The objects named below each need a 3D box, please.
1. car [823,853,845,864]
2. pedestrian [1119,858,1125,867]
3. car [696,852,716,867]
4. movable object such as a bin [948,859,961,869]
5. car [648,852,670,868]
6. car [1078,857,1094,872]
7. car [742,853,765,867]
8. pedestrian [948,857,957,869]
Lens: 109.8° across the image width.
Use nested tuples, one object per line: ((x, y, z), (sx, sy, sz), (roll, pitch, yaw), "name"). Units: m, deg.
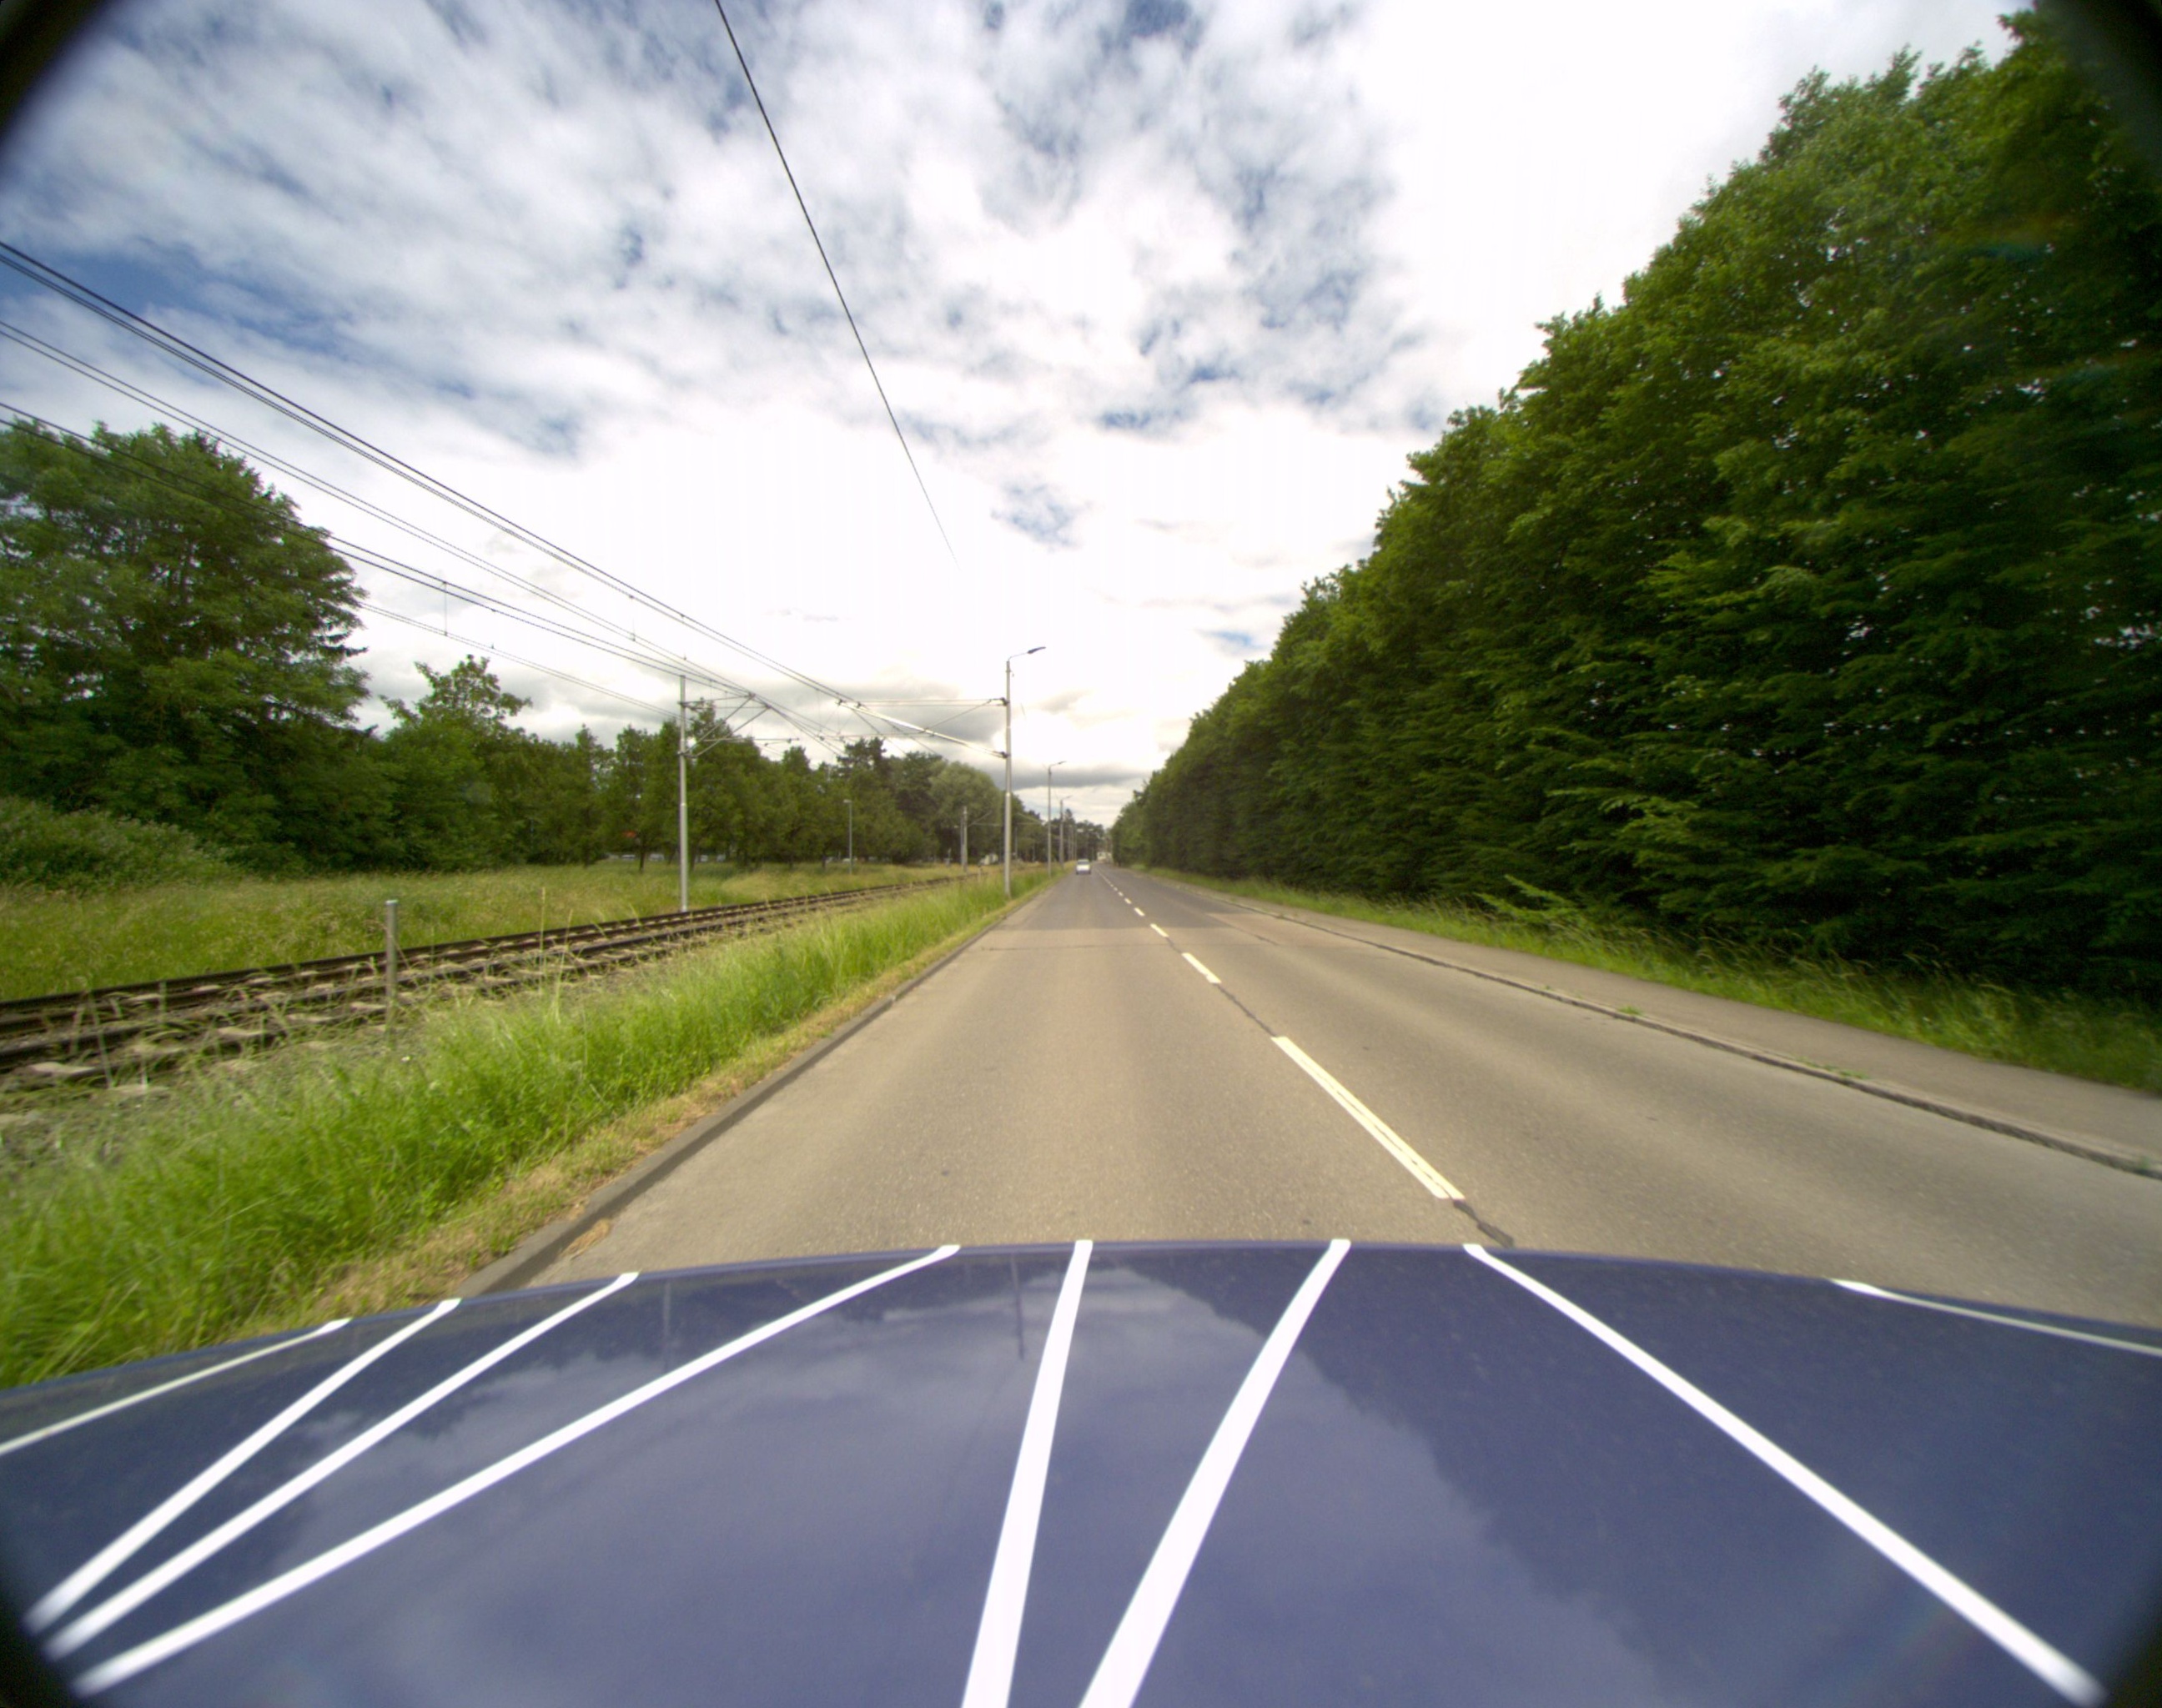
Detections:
((-39.866, 0.673, 122.630), (1.998, 1.690, 4.001), (-1, 0, 3), "car")
((7.590, 1.553, 141.283), (0.870, 1.759, 0.789), (1, 0, -7), "pedestrian")
((-46.080, 0.716, 93.443), (2.002, 1.801, 3.992), (-1, 0, -24), "car")
((-17.111, 1.306, 103.038), (0.658, 1.302, 1.646), (1, 1, 42), "movable object such as a bin")
((-50.804, 0.706, 91.481), (2.002, 1.801, 3.992), (-1, 0, -24), "car")
((0.534, 1.221, 86.656), (1.734, 1.638, 4.227), (-1, -1, 0), "car")
((-40.614, 0.738, 94.282), (1.750, 1.793, 3.996), (-1, 0, -12), "car")
((-17.381, 1.195, 102.740), (0.656, 1.657, 0.960), (1, 1, 42), "pedestrian")
